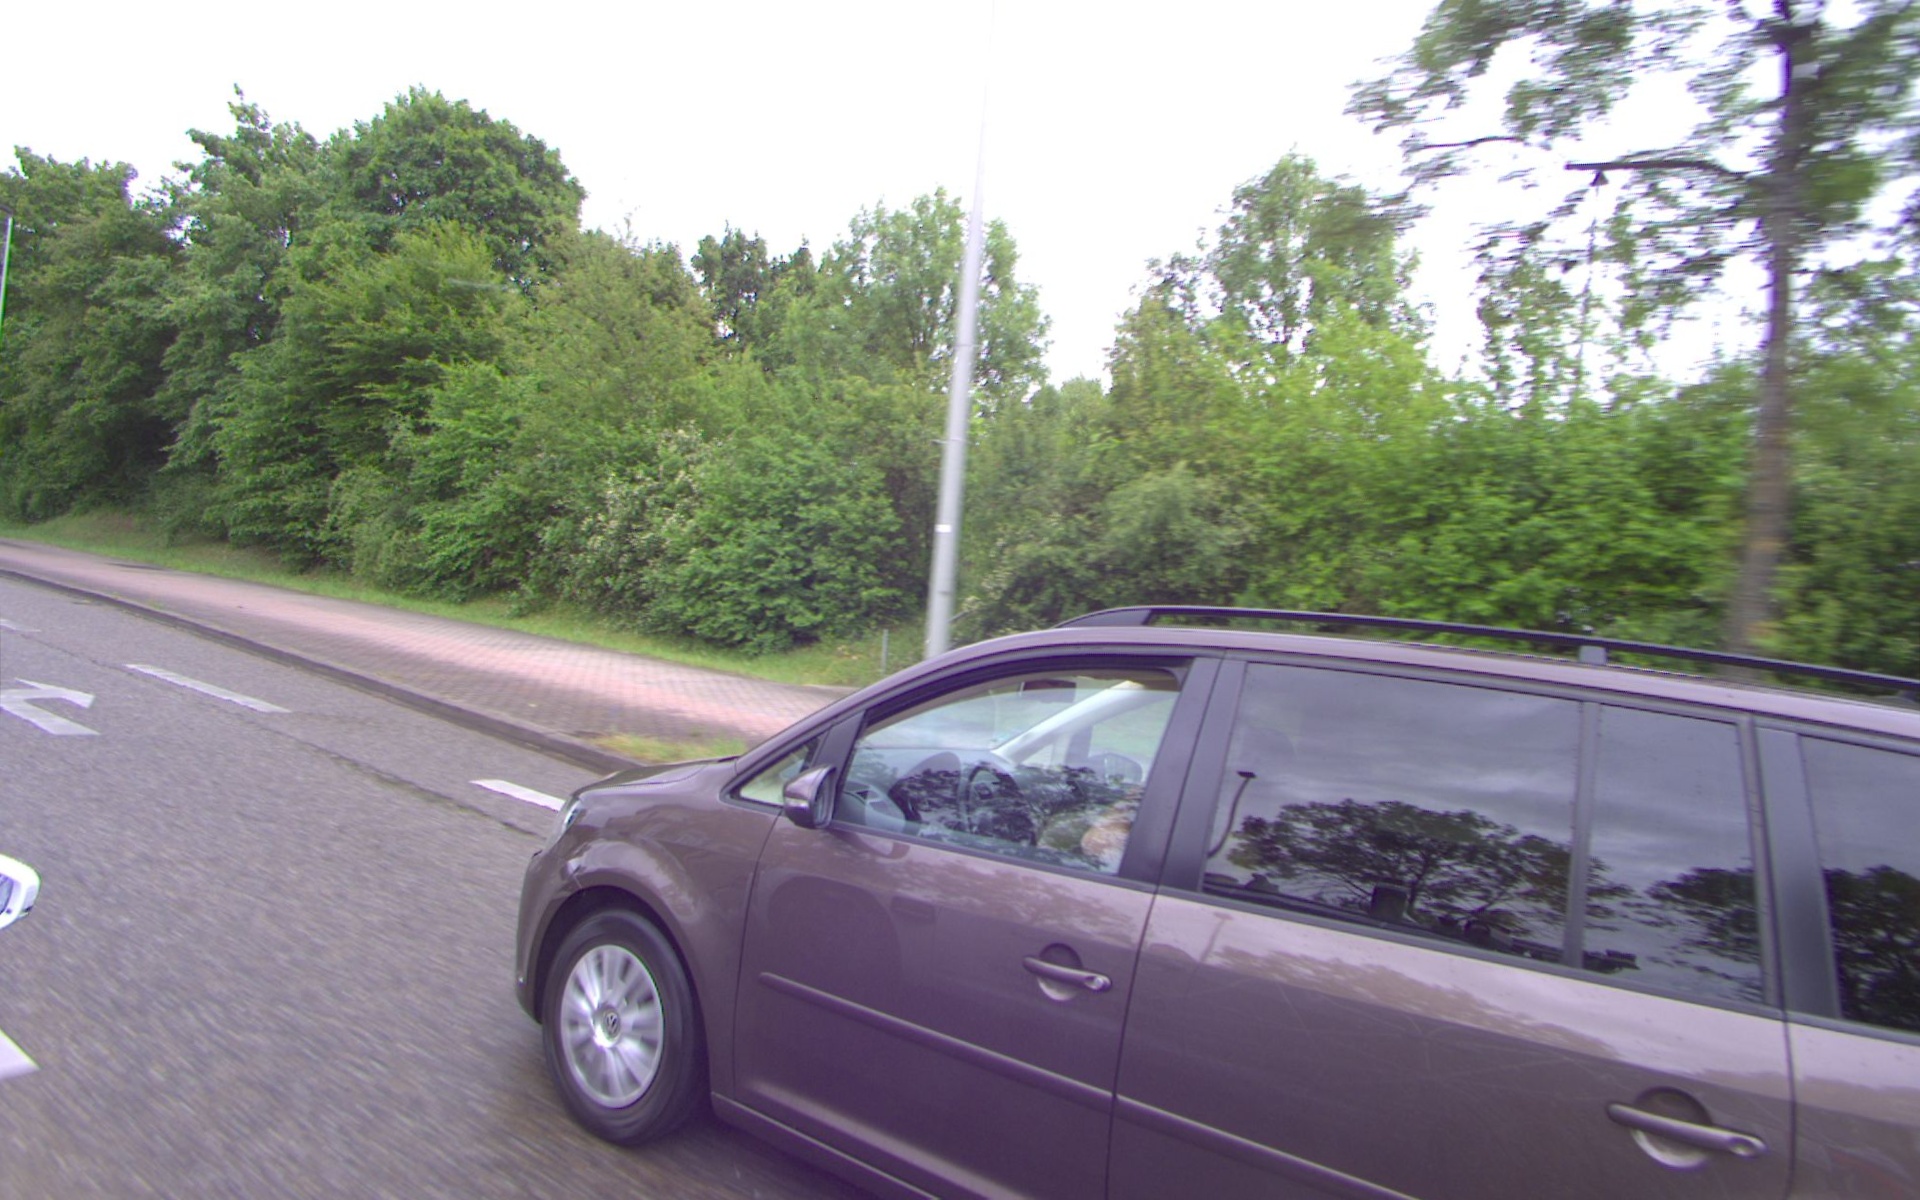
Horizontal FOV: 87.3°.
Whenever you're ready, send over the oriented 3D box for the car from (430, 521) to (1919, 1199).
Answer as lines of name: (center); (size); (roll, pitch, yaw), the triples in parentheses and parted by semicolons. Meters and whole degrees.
car: (0.615, 0.837, 2.785); (4.062, 1.615, 1.717); (7, -1, 31)
